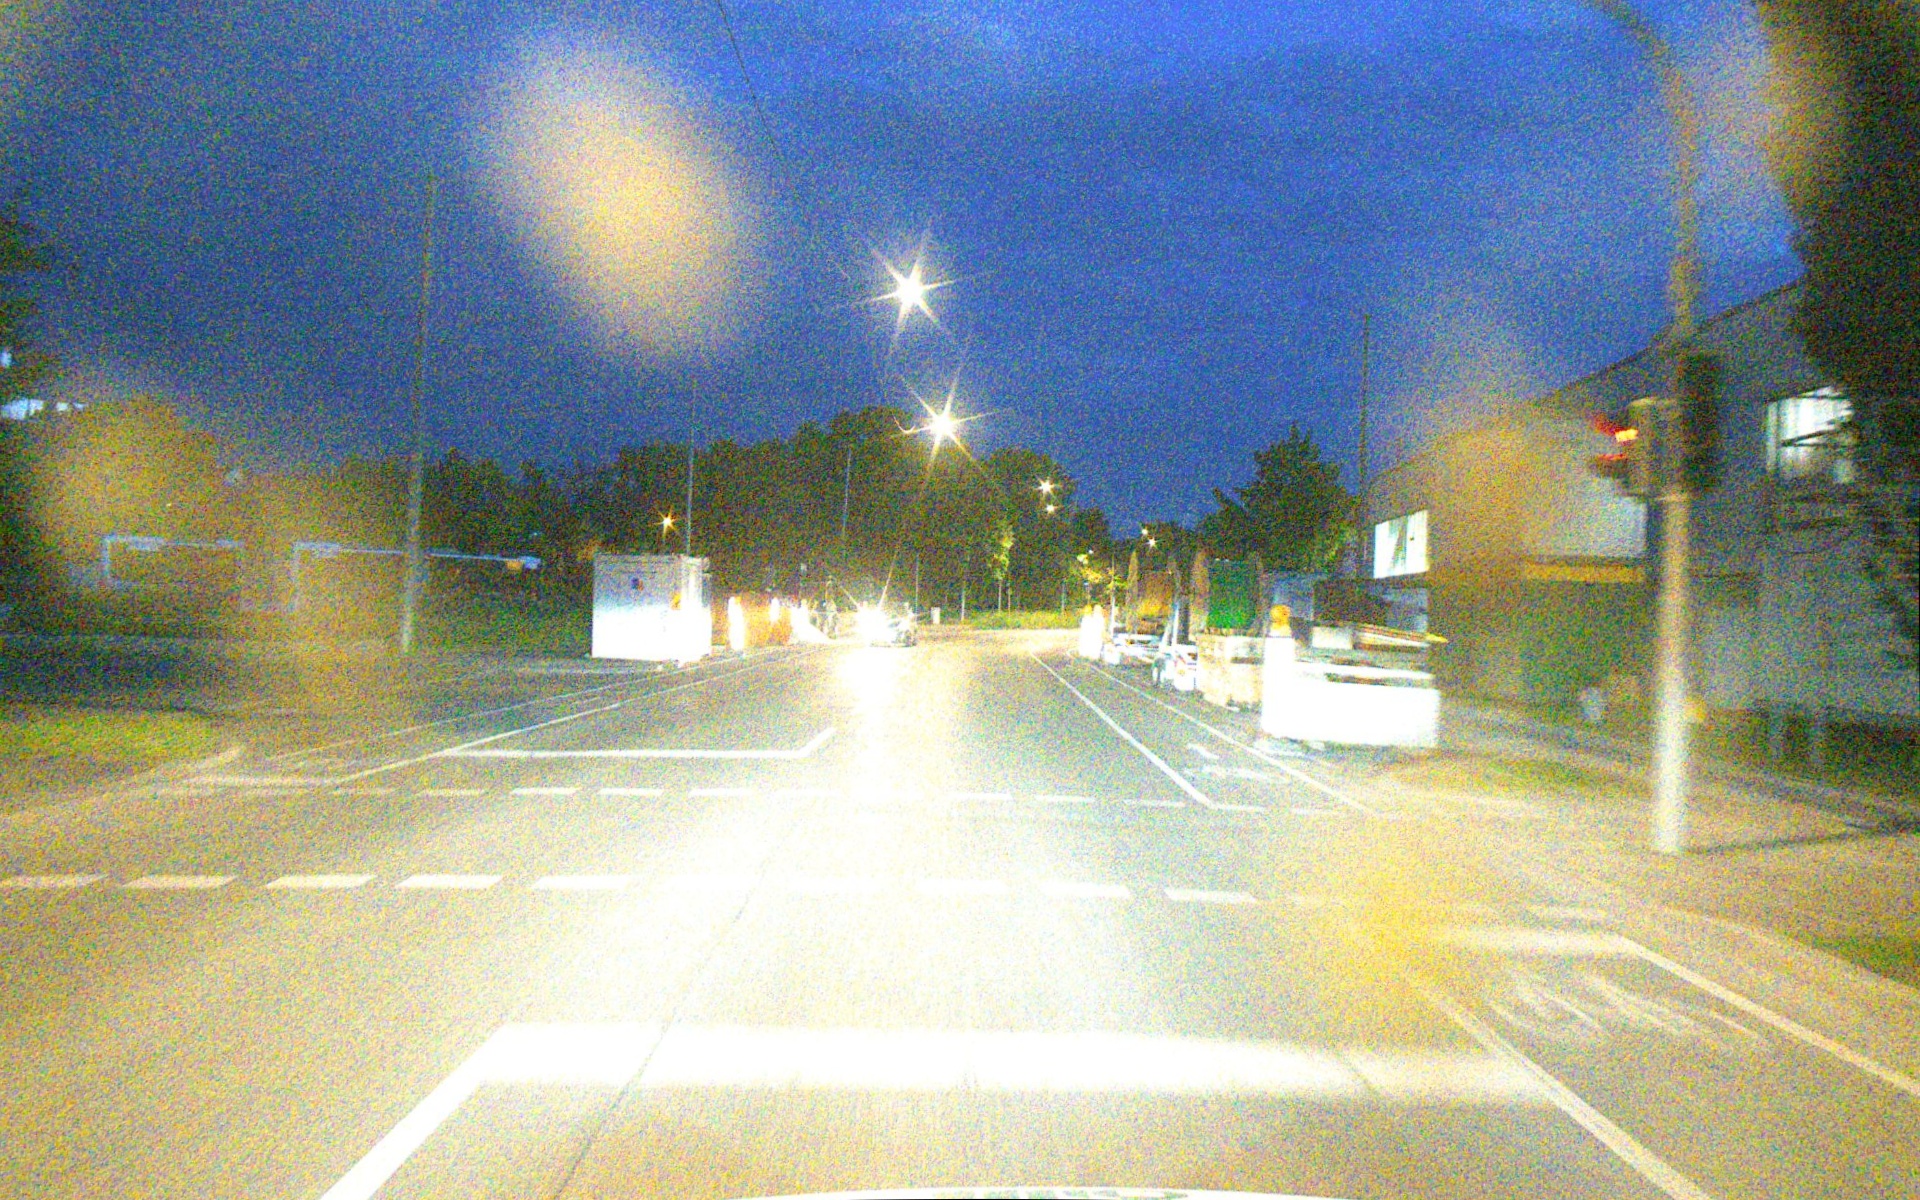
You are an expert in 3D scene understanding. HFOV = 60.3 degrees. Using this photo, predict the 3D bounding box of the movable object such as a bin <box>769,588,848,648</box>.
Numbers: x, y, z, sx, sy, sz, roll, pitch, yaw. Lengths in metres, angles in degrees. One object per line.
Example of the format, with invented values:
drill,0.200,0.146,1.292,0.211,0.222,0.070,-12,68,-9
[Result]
movable object such as a bin,-6.366,0.750,70.110,1.951,2.418,4.706,1,0,12

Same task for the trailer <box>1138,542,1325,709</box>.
trailer,5.223,0.513,32.592,2.562,2.895,4.706,4,-1,-3

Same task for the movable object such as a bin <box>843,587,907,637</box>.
movable object such as a bin,-4.184,0.617,82.417,1.951,2.418,4.705,1,-1,12

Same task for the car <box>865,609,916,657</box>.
car,-2.403,1.128,57.843,1.661,1.604,2.957,0,0,0

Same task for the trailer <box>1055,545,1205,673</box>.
trailer,4.777,0.297,47.515,3.412,3.275,4.861,4,-1,-3

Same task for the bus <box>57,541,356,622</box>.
bus,-31.810,-0.679,70.725,2.889,3.035,12.252,2,0,29

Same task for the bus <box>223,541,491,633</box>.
bus,-23.874,-0.418,66.691,2.949,3.260,12.678,2,0,17
